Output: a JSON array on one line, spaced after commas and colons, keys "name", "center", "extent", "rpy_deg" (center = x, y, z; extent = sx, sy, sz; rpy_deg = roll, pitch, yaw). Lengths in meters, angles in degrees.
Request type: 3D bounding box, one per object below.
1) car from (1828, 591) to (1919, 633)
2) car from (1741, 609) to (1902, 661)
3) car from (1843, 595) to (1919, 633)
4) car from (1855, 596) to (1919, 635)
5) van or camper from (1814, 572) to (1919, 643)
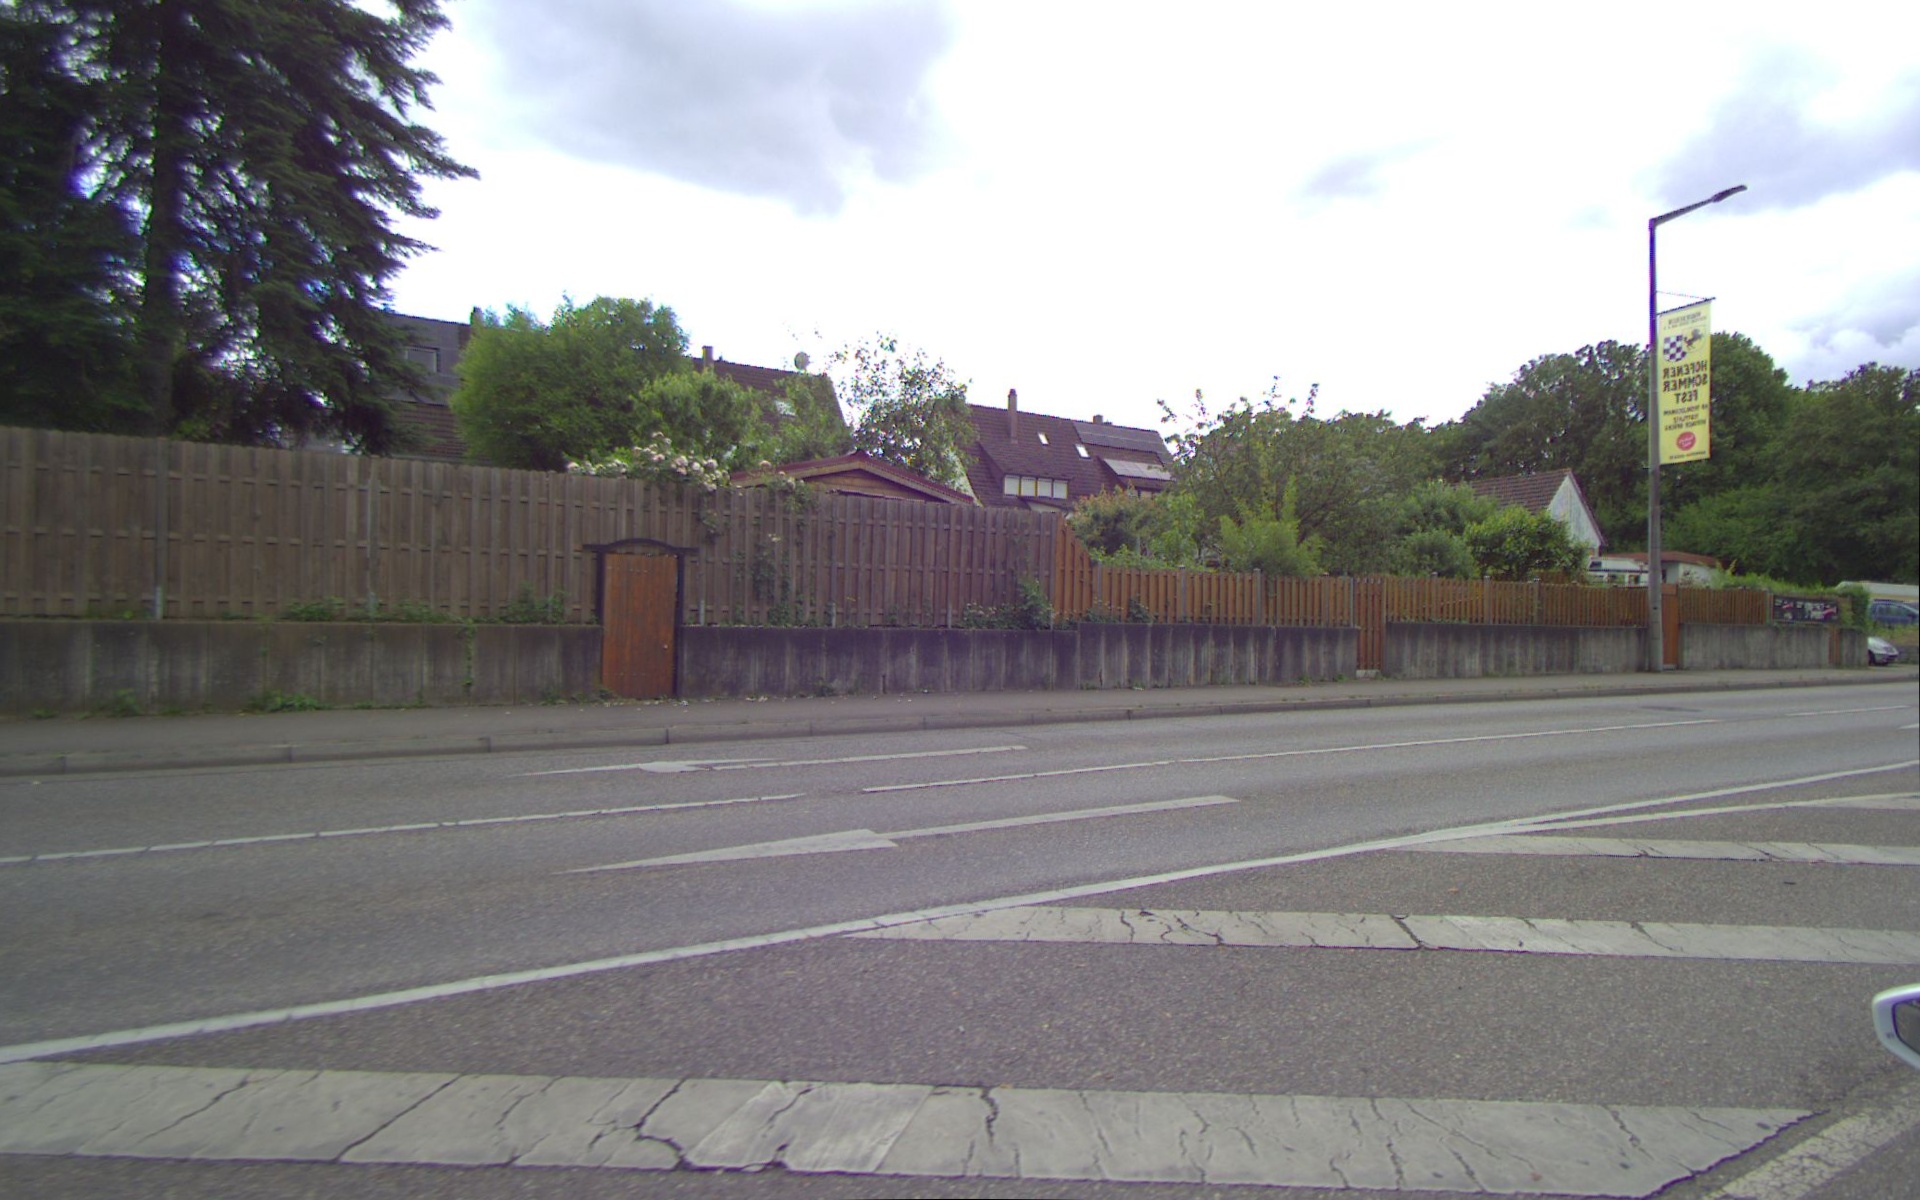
[{"name": "car", "center": [36.332, 0.491, 38.661], "extent": [1.834, 1.517, 3.975], "rpy_deg": [2, 0, -25]}, {"name": "car", "center": [31.086, 1.241, 36.370], "extent": [1.975, 1.639, 3.970], "rpy_deg": [2, 0, -28]}, {"name": "car", "center": [37.814, 0.596, 39.796], "extent": [1.513, 1.430, 3.975], "rpy_deg": [2, 0, -25]}, {"name": "car", "center": [39.388, 0.663, 40.947], "extent": [1.625, 1.512, 3.975], "rpy_deg": [2, 0, -25]}, {"name": "van or camper", "center": [50.677, 0.468, 53.527], "extent": [2.763, 3.417, 7.107], "rpy_deg": [1, 5, -29]}]
